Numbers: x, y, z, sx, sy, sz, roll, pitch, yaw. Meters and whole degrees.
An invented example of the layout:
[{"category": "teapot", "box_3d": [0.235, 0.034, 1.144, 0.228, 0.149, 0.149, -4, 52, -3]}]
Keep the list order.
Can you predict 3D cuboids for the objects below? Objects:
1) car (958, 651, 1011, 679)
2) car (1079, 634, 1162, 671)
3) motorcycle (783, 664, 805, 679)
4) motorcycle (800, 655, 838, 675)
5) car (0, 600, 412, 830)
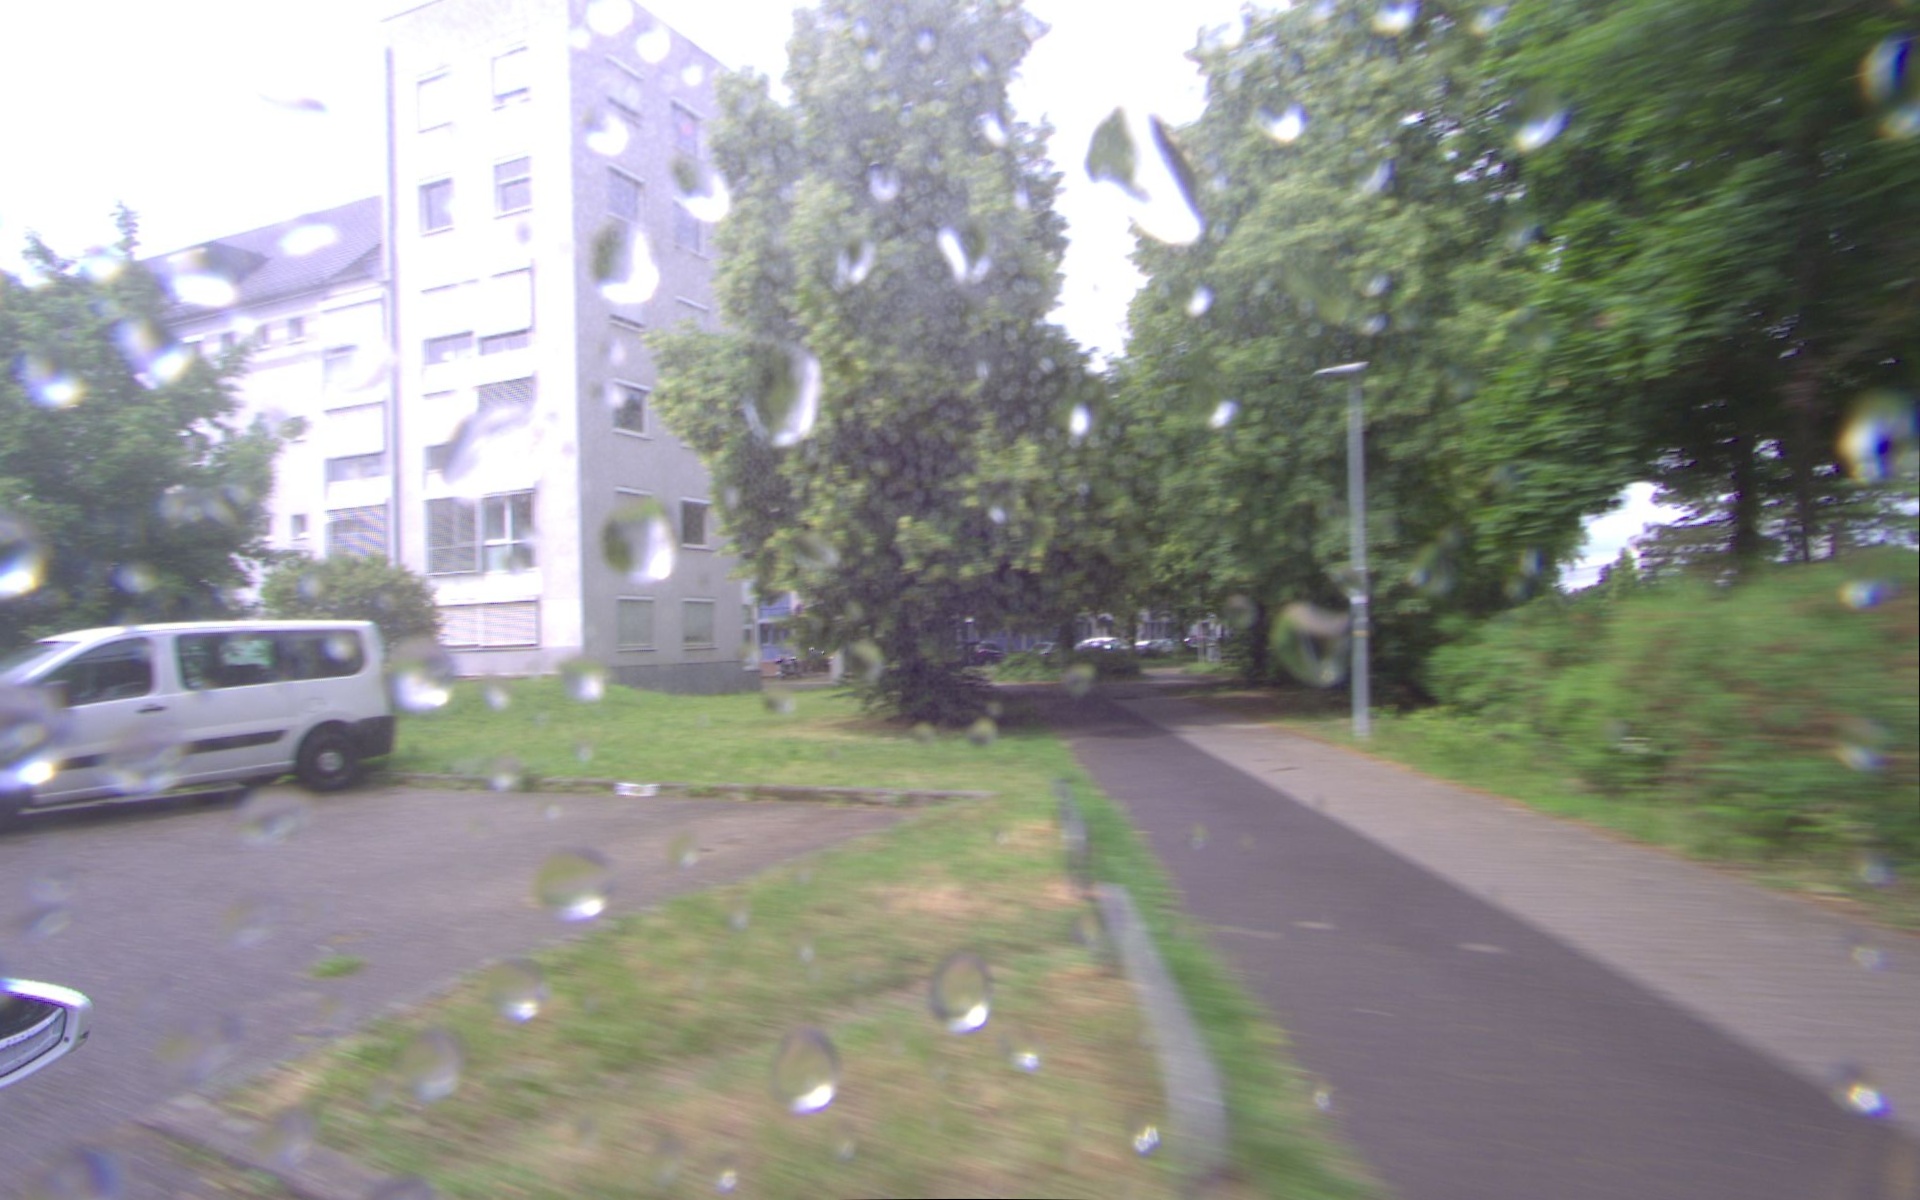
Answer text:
[{"category": "car", "box_3d": [1.560, 4.076, 62.871, 1.757, 1.730, 3.970, -1, -4, 27]}, {"category": "car", "box_3d": [9.173, 2.989, 57.233, 4.313, 2.038, 1.993, -2, -4, 28]}, {"category": "motorcycle", "box_3d": [-8.606, 3.690, 51.883, 0.325, 0.780, 1.440, -1, -4, 27]}, {"category": "motorcycle", "box_3d": [-7.929, 3.656, 56.372, 2.125, 1.157, 0.415, 1, -3, -8]}, {"category": "car", "box_3d": [-8.735, 1.116, 10.521, 1.972, 2.038, 4.930, -3, -3, 31]}]
